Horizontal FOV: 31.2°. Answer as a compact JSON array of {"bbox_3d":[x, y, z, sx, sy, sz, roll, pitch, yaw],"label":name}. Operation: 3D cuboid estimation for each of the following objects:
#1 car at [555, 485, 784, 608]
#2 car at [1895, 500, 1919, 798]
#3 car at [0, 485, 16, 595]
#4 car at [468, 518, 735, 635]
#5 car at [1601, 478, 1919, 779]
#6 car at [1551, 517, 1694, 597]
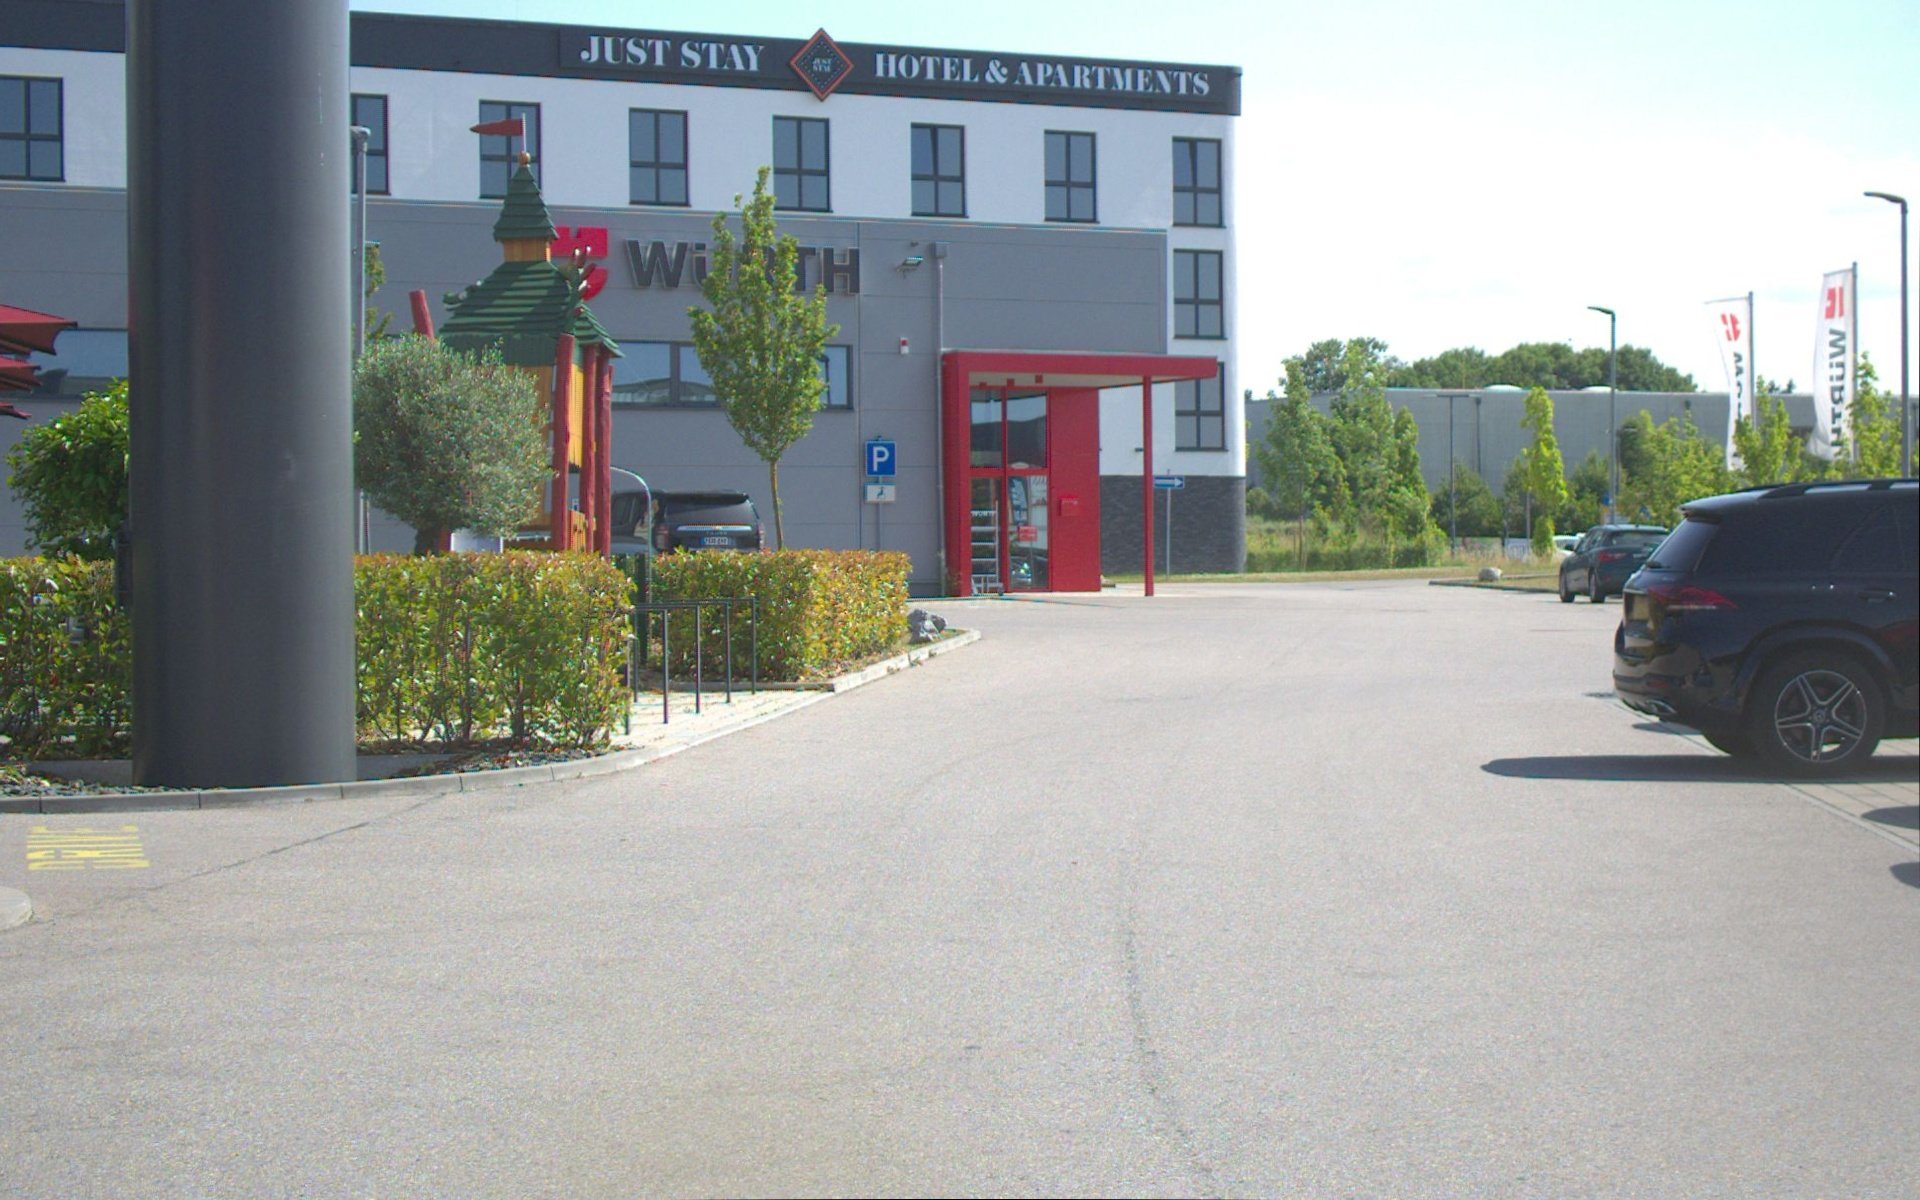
[{"bbox_3d":[-4.693,-0.894,54.839,2.070,1.874,4.880,-1,2,-25],"label":"car"},{"bbox_3d":[7.200,0.304,18.022,4.068,1.603,1.896,1,2,1],"label":"car"},{"bbox_3d":[-15.509,-0.908,51.144,1.947,1.580,4.377,-1,2,-27],"label":"car"},{"bbox_3d":[-4.572,-0.334,43.327,1.862,1.358,4.377,-1,2,-27],"label":"car"},{"bbox_3d":[6.411,0.165,21.165,4.575,1.754,1.896,1,1,1],"label":"car"},{"bbox_3d":[12.066,-0.803,62.796,1.698,1.401,3.897,0,1,-2],"label":"car"}]
